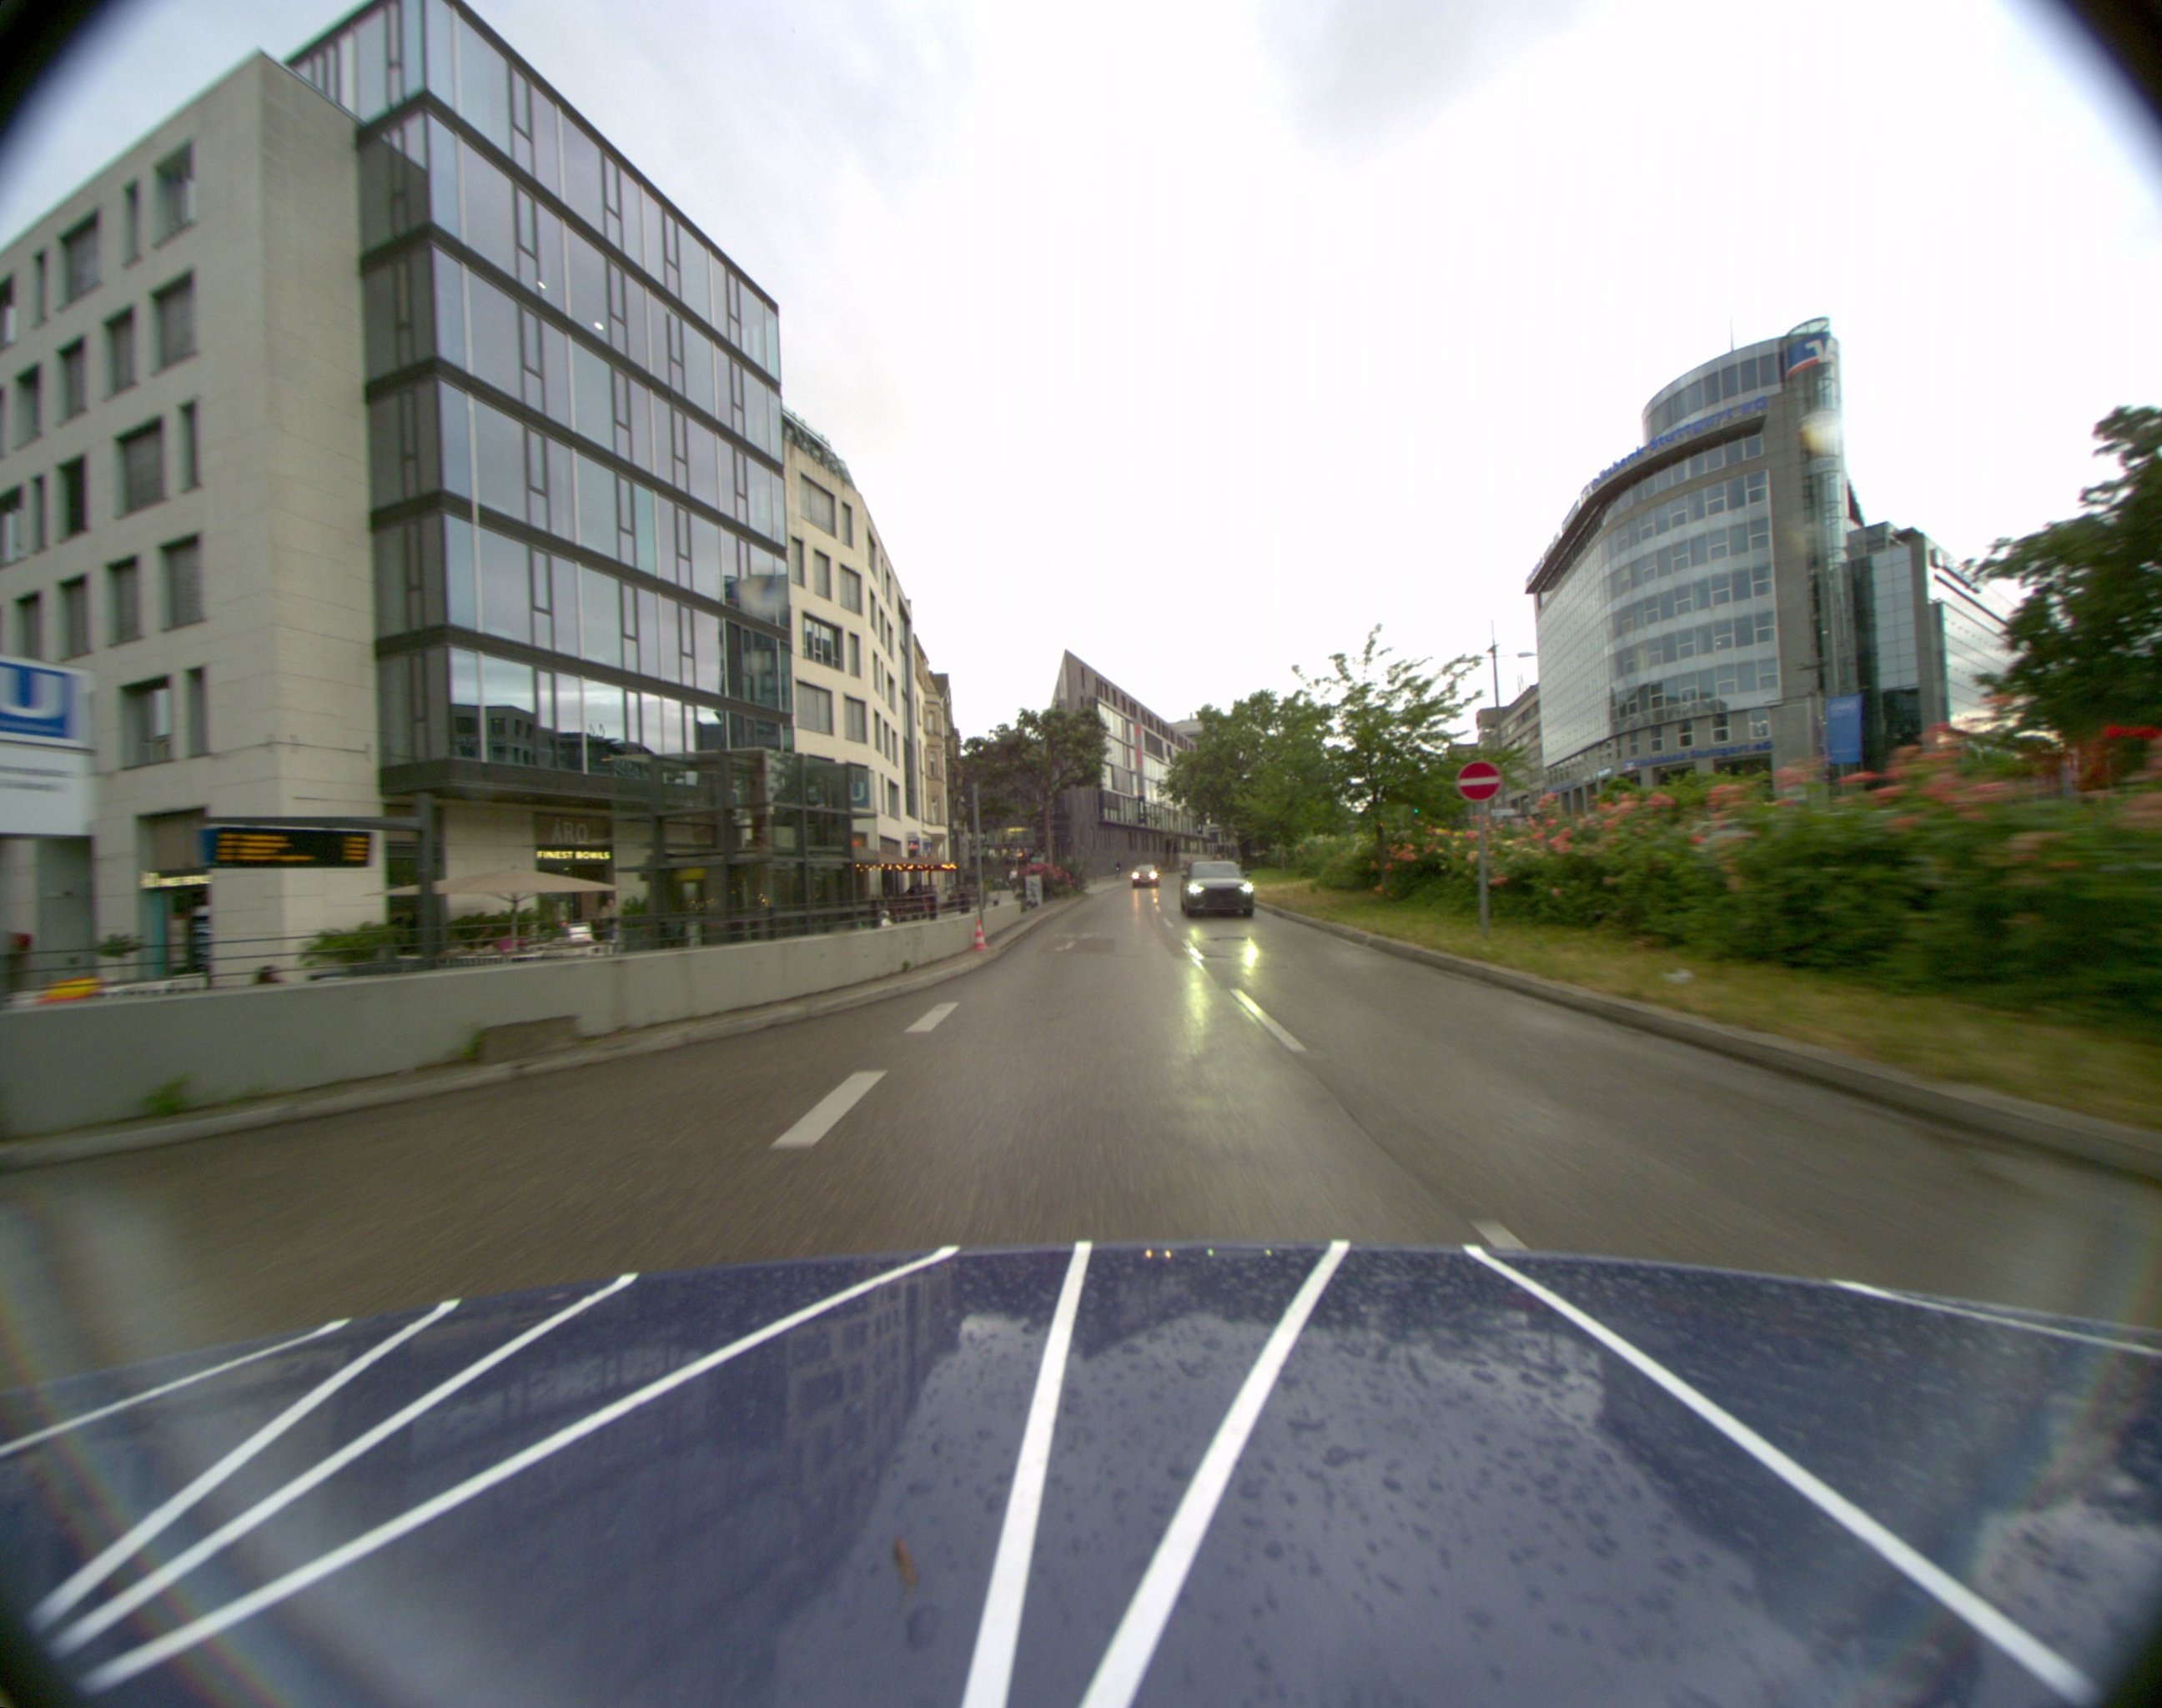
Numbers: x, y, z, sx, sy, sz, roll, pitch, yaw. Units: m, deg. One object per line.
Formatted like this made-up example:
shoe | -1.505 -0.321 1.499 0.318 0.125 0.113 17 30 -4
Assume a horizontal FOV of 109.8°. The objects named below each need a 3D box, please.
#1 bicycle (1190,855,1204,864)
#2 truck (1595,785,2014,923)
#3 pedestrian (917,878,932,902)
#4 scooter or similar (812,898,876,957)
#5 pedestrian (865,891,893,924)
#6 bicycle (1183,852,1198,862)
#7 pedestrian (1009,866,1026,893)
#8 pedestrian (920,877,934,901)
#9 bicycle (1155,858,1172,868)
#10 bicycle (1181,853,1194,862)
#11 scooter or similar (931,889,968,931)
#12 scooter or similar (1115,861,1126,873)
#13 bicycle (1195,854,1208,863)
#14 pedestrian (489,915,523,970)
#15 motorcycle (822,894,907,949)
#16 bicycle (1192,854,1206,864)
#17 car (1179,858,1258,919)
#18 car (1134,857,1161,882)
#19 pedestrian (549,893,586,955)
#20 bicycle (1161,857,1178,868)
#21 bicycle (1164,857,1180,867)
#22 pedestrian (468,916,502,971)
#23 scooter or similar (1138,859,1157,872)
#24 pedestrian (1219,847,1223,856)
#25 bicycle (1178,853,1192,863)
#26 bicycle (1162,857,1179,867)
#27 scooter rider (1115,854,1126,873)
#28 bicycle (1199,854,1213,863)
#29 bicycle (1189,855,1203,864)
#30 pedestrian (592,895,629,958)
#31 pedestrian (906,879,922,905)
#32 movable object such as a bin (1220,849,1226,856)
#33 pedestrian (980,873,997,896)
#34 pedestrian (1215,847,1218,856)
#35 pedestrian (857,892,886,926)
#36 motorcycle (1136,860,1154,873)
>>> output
bicycle | 15.596 0.703 102.360 1.732 1.133 0.690 -2 1 15
truck | 16.662 -0.011 18.792 3.373 2.495 8.482 -3 0 11
pedestrian | -9.013 2.079 43.787 0.628 1.318 0.635 -6 0 -3
scooter or similar | -5.065 1.562 16.263 1.115 1.151 0.532 -4 0 3
pedestrian | -8.665 2.295 32.622 0.818 1.318 0.636 -6 0 17
bicycle | 14.213 0.384 98.717 1.708 1.134 0.690 -3 1 15
pedestrian | -4.708 1.870 56.182 0.873 1.827 1.250 -5 1 7
pedestrian | -9.033 2.072 44.626 0.628 1.318 0.635 -6 0 -3
bicycle | 9.558 1.053 88.223 1.797 1.101 0.670 -5 1 16
bicycle | 13.579 0.447 97.202 1.536 1.134 0.690 -3 1 15
scooter or similar | -4.354 1.846 25.153 1.093 1.264 0.481 -4 0 -7
scooter or similar | 4.349 1.442 83.625 0.778 1.298 1.337 -3 0 25
bicycle | 16.648 0.636 104.784 1.732 1.176 0.690 -2 1 15
pedestrian | -15.103 2.317 19.973 0.435 1.395 0.479 -2 1 20
motorcycle | -5.136 1.589 18.087 1.781 1.151 0.607 -4 0 3
bicycle | 16.032 0.670 103.074 1.732 1.176 0.690 -2 1 15
car | 3.966 0.945 22.547 1.865 1.509 4.347 -3 0 5
car | 4.291 0.986 49.417 1.594 1.501 3.710 -3 0 4
pedestrian | -16.215 2.213 23.986 0.641 1.883 0.586 -3 1 10
bicycle | 10.435 0.994 89.825 1.797 1.062 0.557 -5 1 17
bicycle | 10.887 0.931 91.124 1.797 1.062 0.557 -5 1 17
pedestrian | -15.640 2.344 19.937 0.435 1.395 0.479 -2 1 20
scooter or similar | 7.145 1.231 81.659 1.794 1.236 0.596 -5 1 16
pedestrian | 27.750 -0.518 150.565 0.722 1.820 0.748 -1 1 19
bicycle | 13.196 0.483 96.473 1.536 1.134 0.663 -3 2 15
bicycle | 10.631 0.955 90.477 1.797 1.062 0.557 -5 1 17
scooter rider | 4.319 1.028 83.601 0.778 2.009 0.925 -3 1 25
bicycle | 17.378 0.603 105.634 1.732 1.176 0.690 -2 1 15
bicycle | 15.377 0.712 101.597 1.732 1.133 0.690 -2 1 15
pedestrian | -14.525 2.223 23.474 0.585 1.883 0.643 -2 1 22
pedestrian | -9.291 2.107 42.231 0.628 1.318 0.635 -6 0 -3
movable object such as a bin | 27.890 -0.246 149.192 0.803 1.258 1.790 -1 1 19
pedestrian | -5.823 1.911 47.786 0.775 1.318 0.636 -6 0 17
pedestrian | 26.869 -0.452 150.921 0.484 1.689 0.580 -1 1 19
pedestrian | -8.760 2.309 31.746 0.818 1.318 0.636 -6 0 17
motorcycle | 6.791 1.326 80.628 1.794 1.133 0.596 -5 1 16
